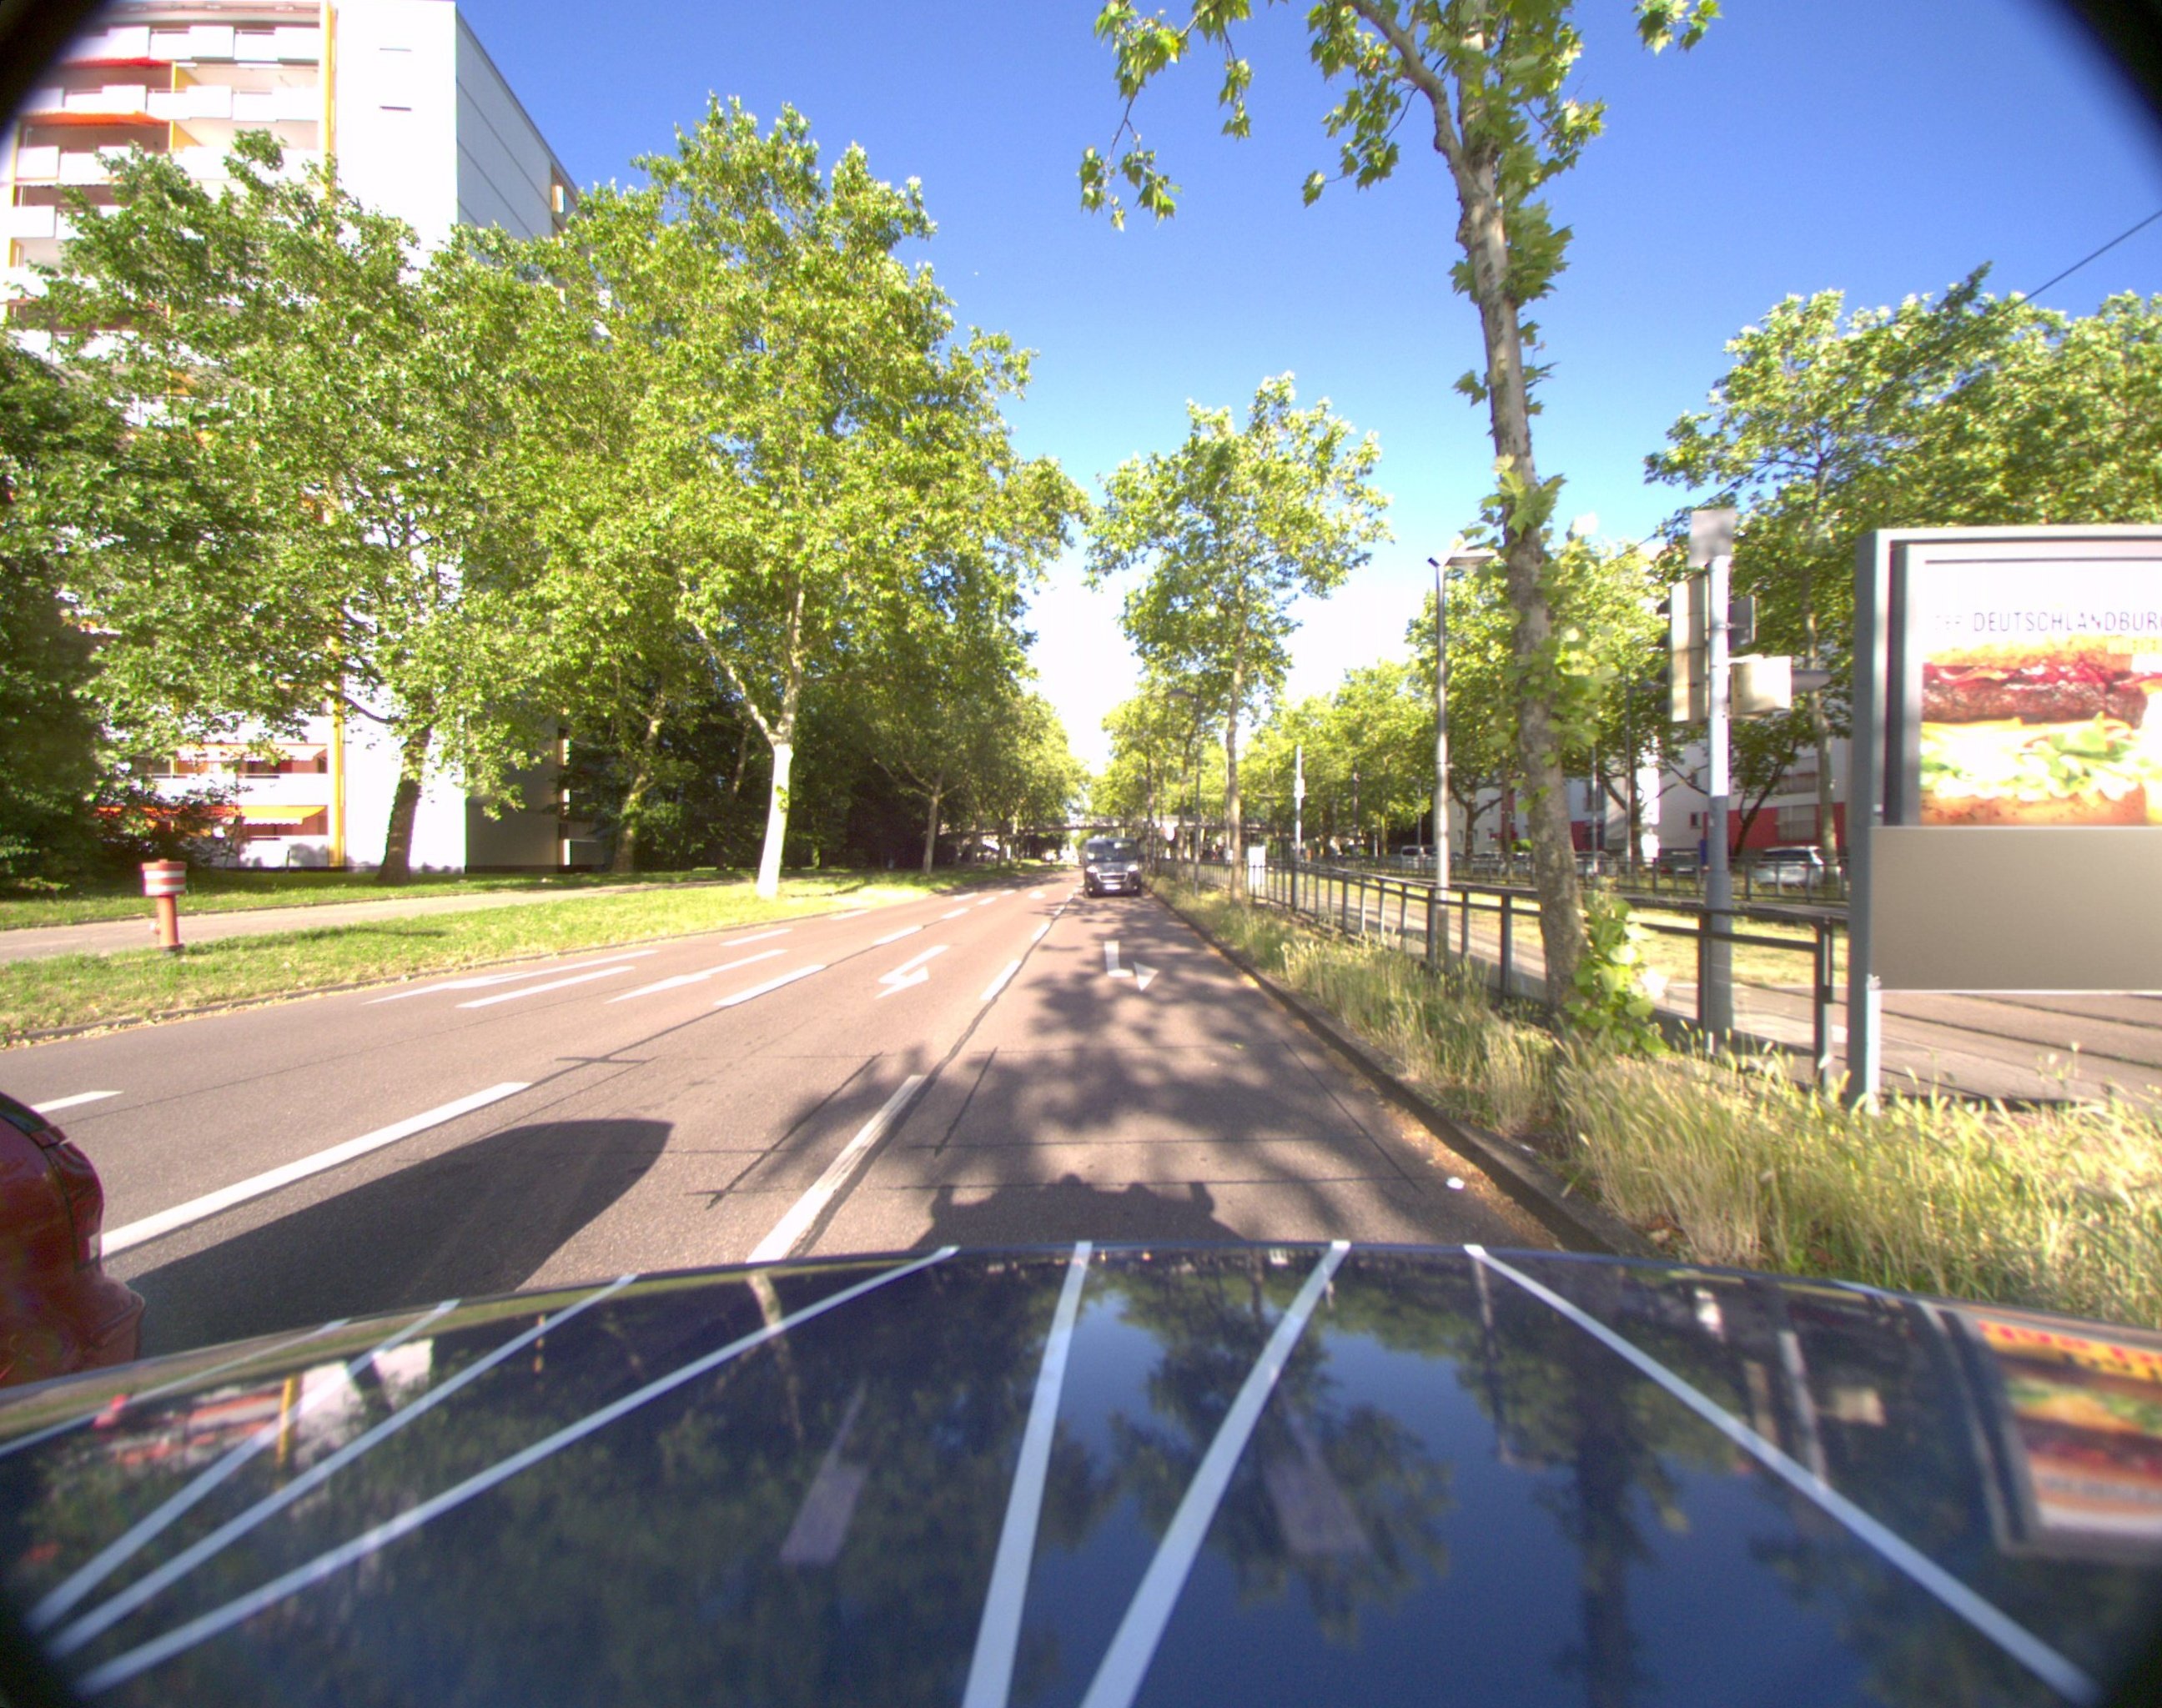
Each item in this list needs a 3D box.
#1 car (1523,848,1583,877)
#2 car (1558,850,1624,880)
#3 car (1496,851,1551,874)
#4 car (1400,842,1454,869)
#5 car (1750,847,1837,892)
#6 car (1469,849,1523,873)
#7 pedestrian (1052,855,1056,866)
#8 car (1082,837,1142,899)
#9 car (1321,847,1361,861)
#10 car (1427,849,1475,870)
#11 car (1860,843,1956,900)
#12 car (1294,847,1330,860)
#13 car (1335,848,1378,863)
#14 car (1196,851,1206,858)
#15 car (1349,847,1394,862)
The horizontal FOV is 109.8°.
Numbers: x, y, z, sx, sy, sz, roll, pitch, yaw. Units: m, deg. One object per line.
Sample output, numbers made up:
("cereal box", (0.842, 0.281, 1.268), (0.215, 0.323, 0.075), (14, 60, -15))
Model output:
("car", (25.808, 0.433, 41.507), (3.689, 1.440, 1.645), (-1, 1, -39))
("car", (25.327, 0.504, 37.679), (3.689, 1.384, 1.645), (-1, 1, -38))
("car", (26.198, 0.486, 44.949), (3.689, 1.234, 1.645), (-1, 1, -39))
("car", (25.959, 0.089, 56.981), (4.376, 1.873, 1.919), (-1, 1, -39))
("car", (25.053, 0.498, 26.675), (3.689, 1.425, 1.683), (-1, 1, -38))
("car", (25.955, 0.419, 47.484), (3.689, 1.440, 1.645), (-1, 1, -39))
("pedestrian", (-3.692, 0.880, 103.403), (0.398, 1.454, 0.418), (-1, 1, 25))
("car", (1.101, 0.454, 28.965), (2.040, 2.102, 5.113), (-1, 0, 1))
("car", (27.243, 0.028, 79.563), (4.376, 1.367, 1.919), (-1, 1, -39))
("car", (26.244, 0.351, 53.887), (3.689, 1.388, 1.645), (-1, 1, -39))
("car", (25.014, 0.465, 22.949), (3.689, 1.558, 1.683), (-1, 1, -38))
("car", (27.202, -0.055, 89.417), (4.376, 1.367, 1.919), (-1, 1, -39))
("car", (26.588, 0.103, 73.266), (4.376, 1.367, 1.919), (-1, 1, -39))
("car", (25.802, 0.148, 163.388), (1.672, 1.351, 3.295), (-1, 0, 1))
("car", (26.831, 0.033, 70.205), (4.376, 1.367, 1.919), (-1, 1, -39))
